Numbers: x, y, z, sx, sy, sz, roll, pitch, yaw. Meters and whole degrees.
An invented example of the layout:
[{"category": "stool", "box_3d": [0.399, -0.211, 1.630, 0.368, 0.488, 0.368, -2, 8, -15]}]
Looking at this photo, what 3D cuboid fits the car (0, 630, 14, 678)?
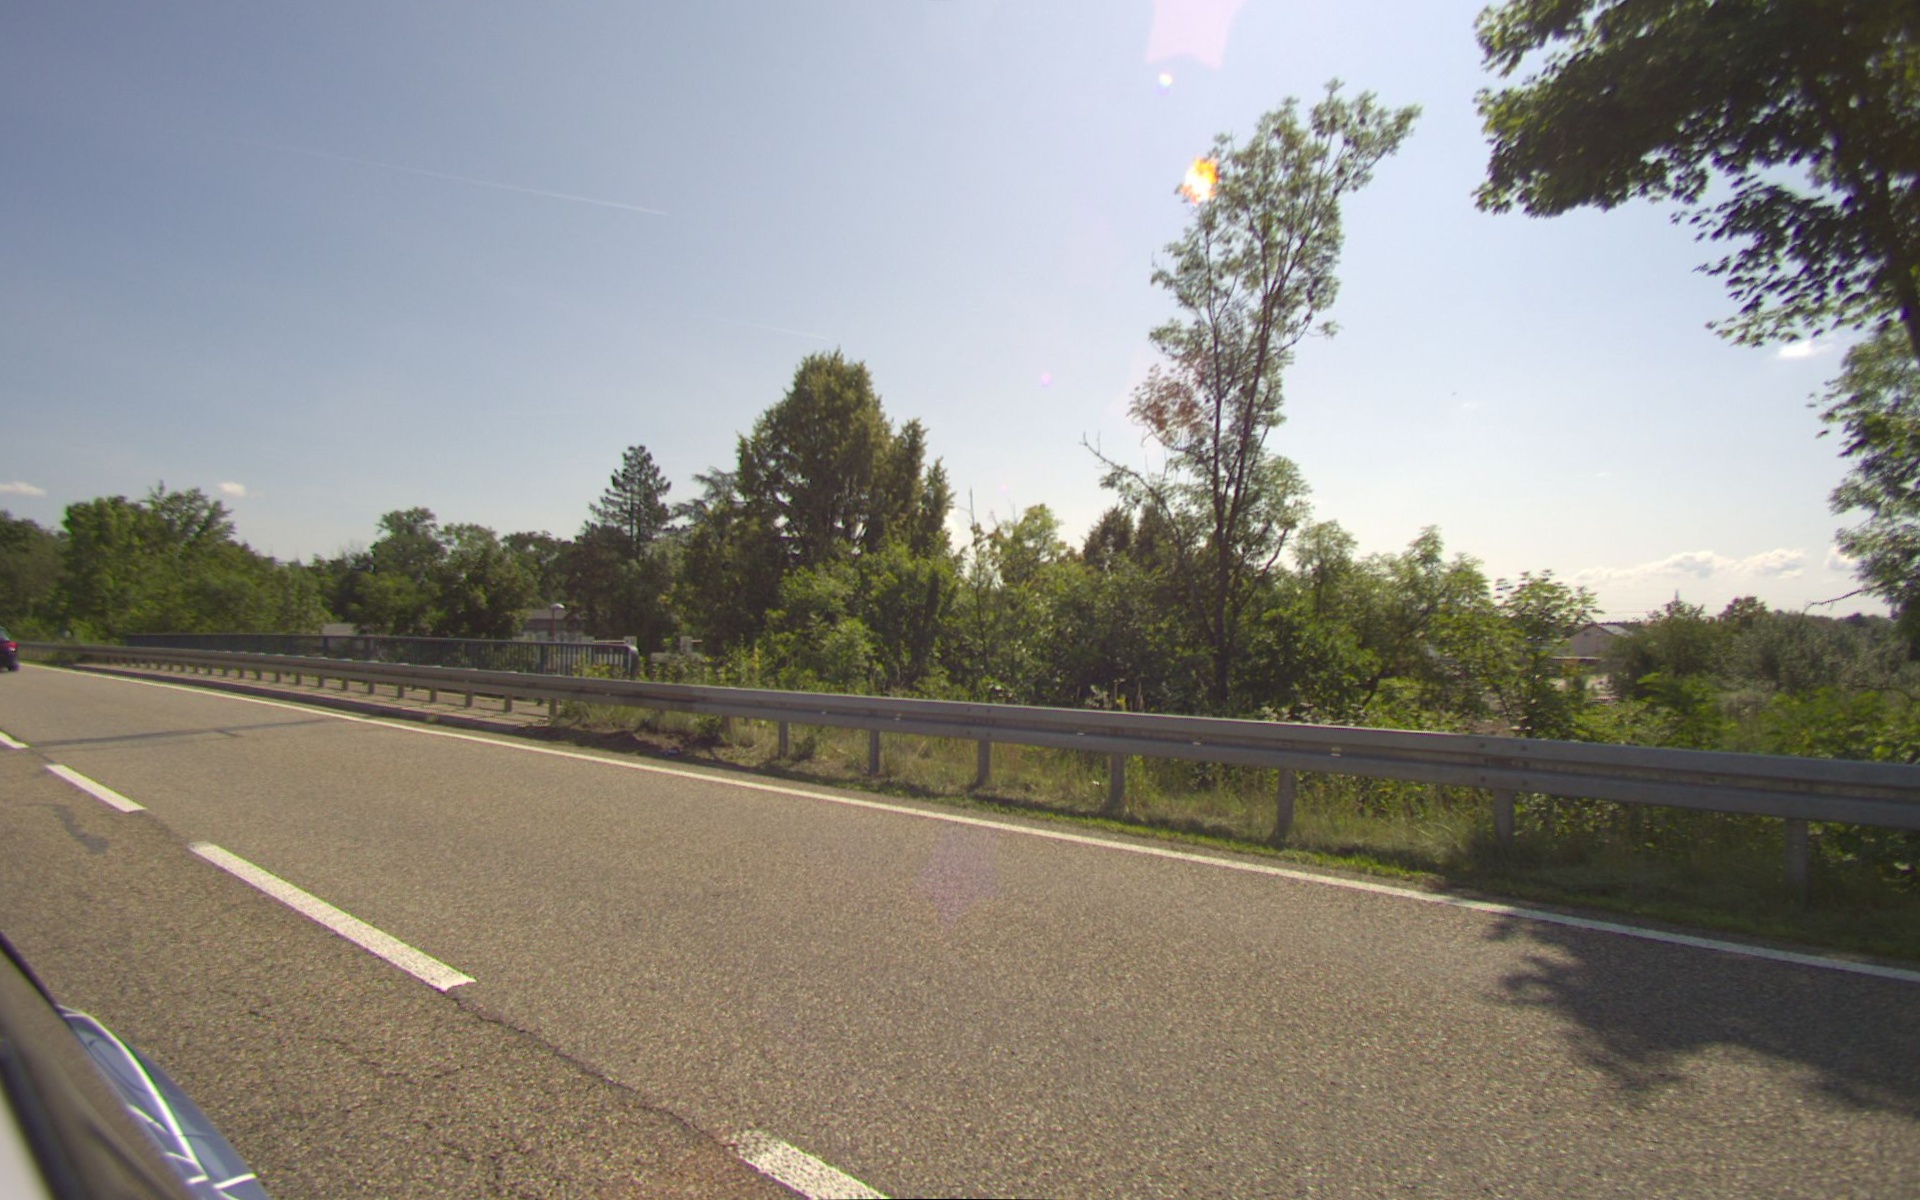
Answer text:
[{"category": "car", "box_3d": [-30.922, 1.658, 31.466, 4.674, 1.436, 1.728, -1, -2, 41]}]
